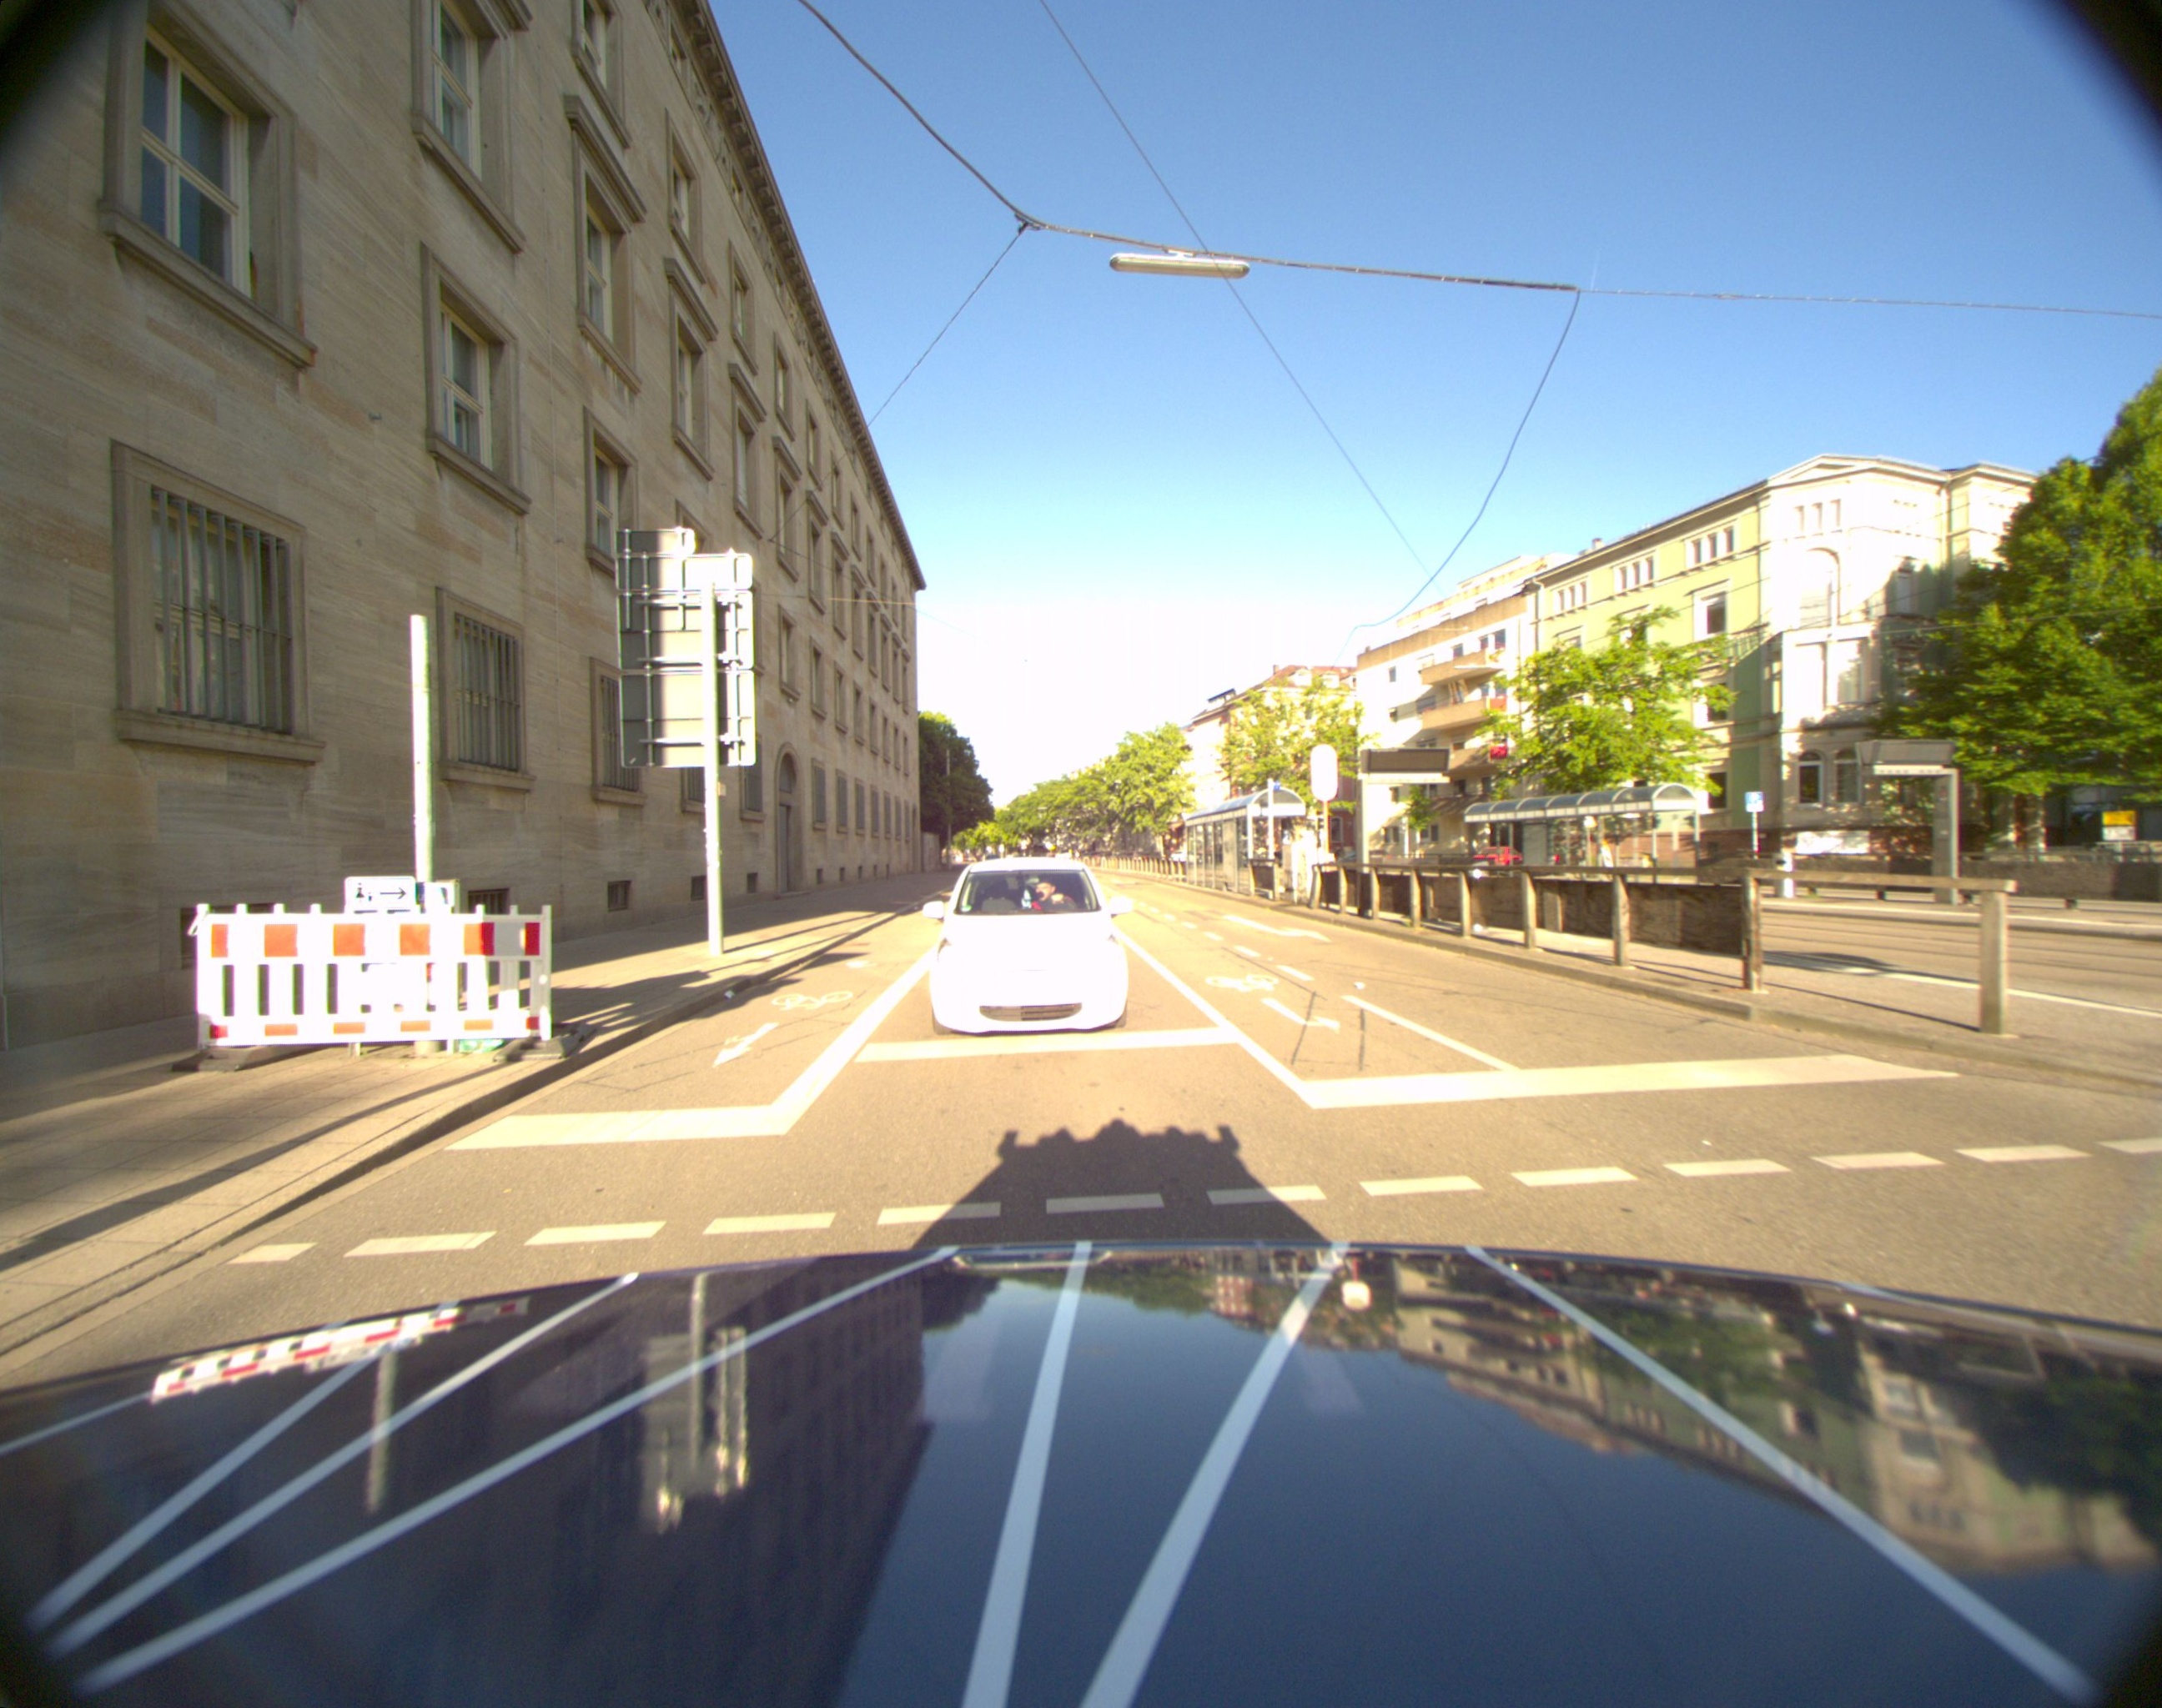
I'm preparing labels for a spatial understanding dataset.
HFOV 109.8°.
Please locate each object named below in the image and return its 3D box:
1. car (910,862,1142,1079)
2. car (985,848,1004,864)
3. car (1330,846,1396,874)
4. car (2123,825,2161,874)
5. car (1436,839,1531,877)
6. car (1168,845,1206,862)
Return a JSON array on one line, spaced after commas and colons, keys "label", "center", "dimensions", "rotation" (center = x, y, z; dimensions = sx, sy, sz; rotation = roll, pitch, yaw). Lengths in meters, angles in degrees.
[{"label": "car", "center": [-0.532, 0.885, 7.577], "dimensions": [1.679, 1.456, 3.763], "rotation": [-2, 1, -4]}, {"label": "car", "center": [-11.497, 0.230, 100.897], "dimensions": [1.761, 2.002, 3.700], "rotation": [-1, 1, -16]}, {"label": "car", "center": [17.419, 0.332, 47.083], "dimensions": [1.741, 1.576, 3.994], "rotation": [-3, 1, -17]}, {"label": "car", "center": [37.096, -0.155, 24.353], "dimensions": [1.740, 1.576, 3.996], "rotation": [-3, 1, -8]}, {"label": "car", "center": [19.423, 0.166, 36.673], "dimensions": [4.003, 1.576, 1.738], "rotation": [-3, 1, -18]}, {"label": "car", "center": [10.566, -0.058, 75.831], "dimensions": [1.735, 1.576, 4.007], "rotation": [-1, 2, 42]}]
